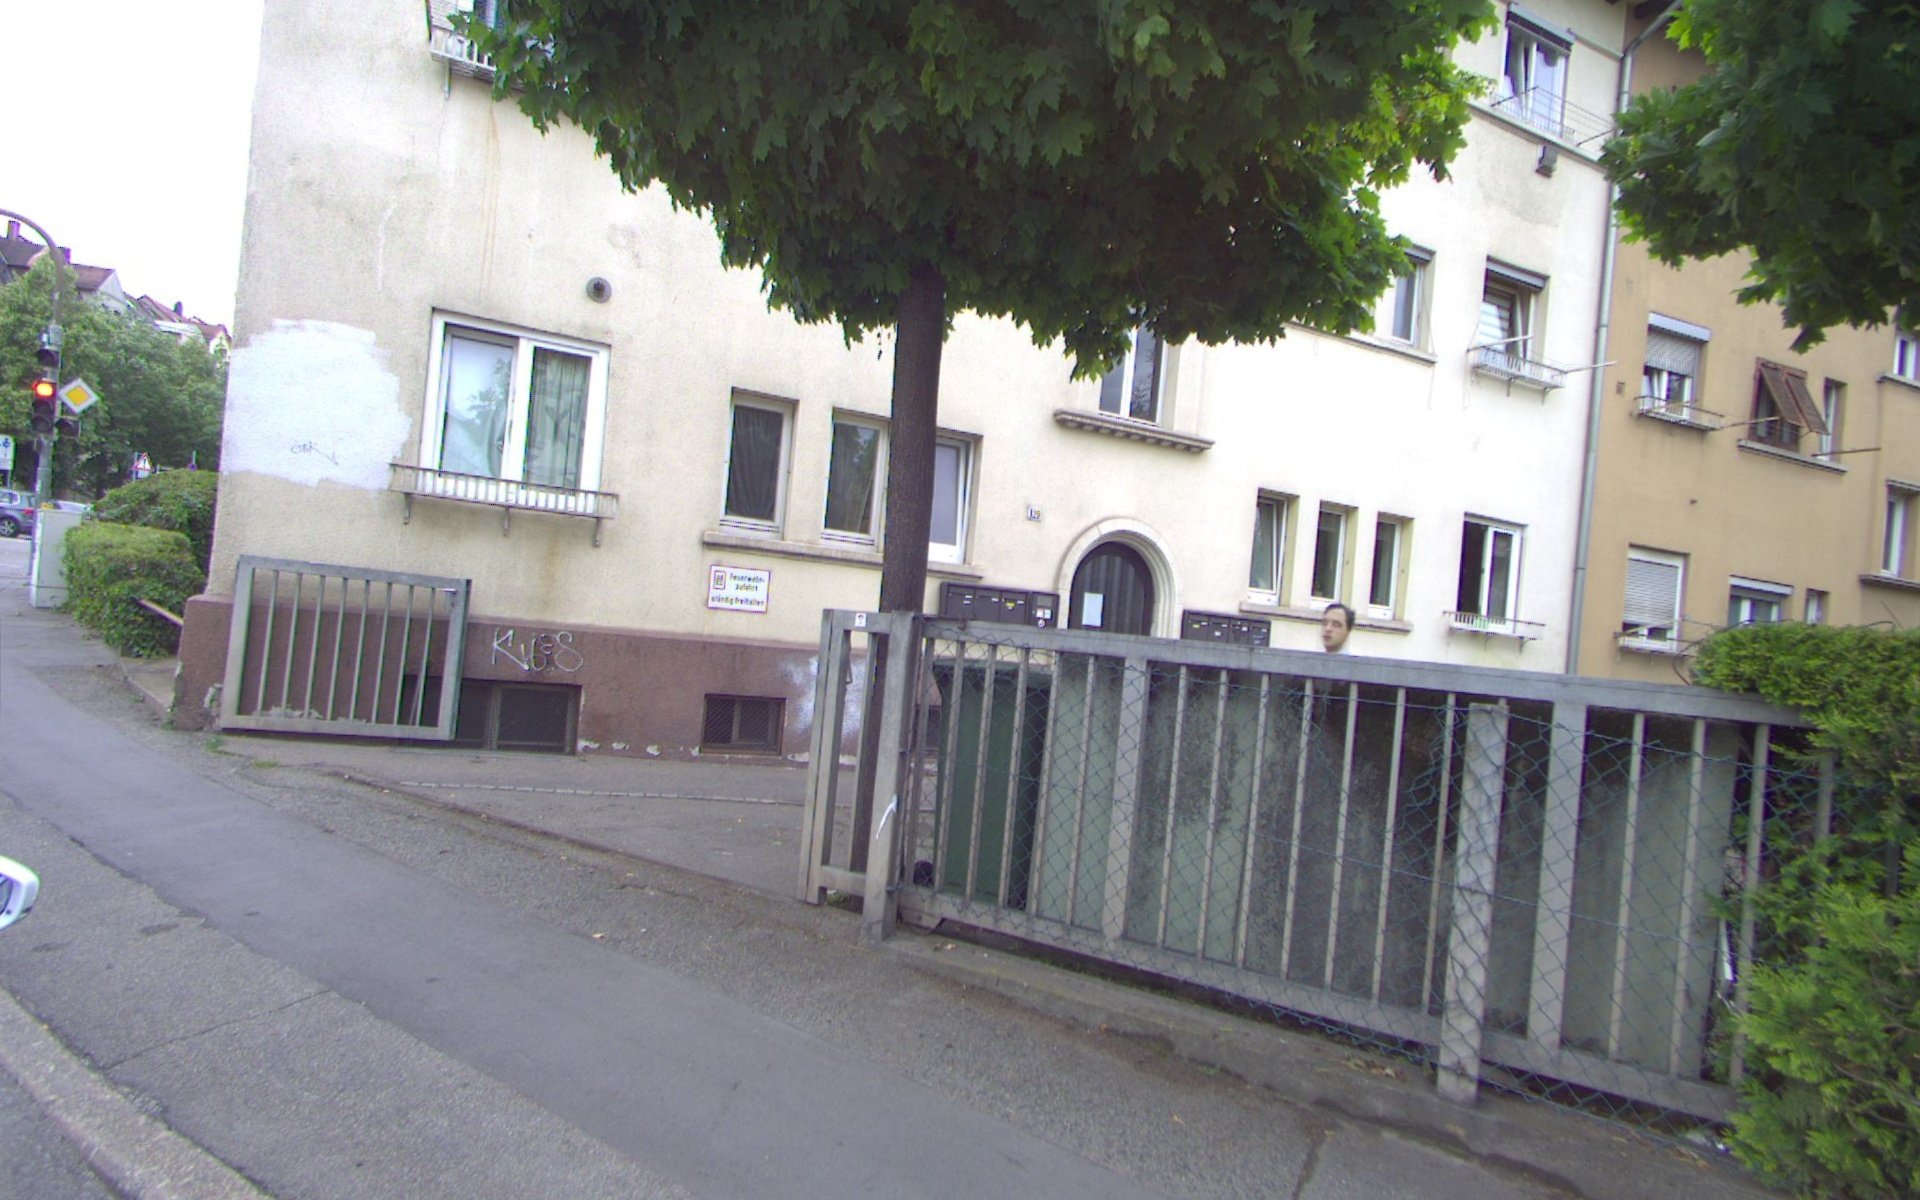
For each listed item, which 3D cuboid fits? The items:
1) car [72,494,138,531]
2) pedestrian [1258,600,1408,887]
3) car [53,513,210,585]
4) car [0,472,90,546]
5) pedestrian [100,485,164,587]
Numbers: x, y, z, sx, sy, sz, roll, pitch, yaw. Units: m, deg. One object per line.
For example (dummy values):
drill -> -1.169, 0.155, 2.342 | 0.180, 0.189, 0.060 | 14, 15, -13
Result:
car -> -63.146, -6.438, 74.373 | 1.970, 2.036, 3.991 | 8, -3, -15
pedestrian -> 2.495, 0.926, 6.720 | 0.684, 1.758, 0.466 | 7, 0, 30
car -> -30.958, -1.873, 37.714 | 3.928, 2.036, 2.001 | 7, -2, -3
car -> -31.615, -3.145, 33.055 | 3.931, 2.036, 1.999 | 8, -2, -7
pedestrian -> -15.758, -1.213, 19.158 | 0.520, 1.840, 0.591 | 7, -2, 31
